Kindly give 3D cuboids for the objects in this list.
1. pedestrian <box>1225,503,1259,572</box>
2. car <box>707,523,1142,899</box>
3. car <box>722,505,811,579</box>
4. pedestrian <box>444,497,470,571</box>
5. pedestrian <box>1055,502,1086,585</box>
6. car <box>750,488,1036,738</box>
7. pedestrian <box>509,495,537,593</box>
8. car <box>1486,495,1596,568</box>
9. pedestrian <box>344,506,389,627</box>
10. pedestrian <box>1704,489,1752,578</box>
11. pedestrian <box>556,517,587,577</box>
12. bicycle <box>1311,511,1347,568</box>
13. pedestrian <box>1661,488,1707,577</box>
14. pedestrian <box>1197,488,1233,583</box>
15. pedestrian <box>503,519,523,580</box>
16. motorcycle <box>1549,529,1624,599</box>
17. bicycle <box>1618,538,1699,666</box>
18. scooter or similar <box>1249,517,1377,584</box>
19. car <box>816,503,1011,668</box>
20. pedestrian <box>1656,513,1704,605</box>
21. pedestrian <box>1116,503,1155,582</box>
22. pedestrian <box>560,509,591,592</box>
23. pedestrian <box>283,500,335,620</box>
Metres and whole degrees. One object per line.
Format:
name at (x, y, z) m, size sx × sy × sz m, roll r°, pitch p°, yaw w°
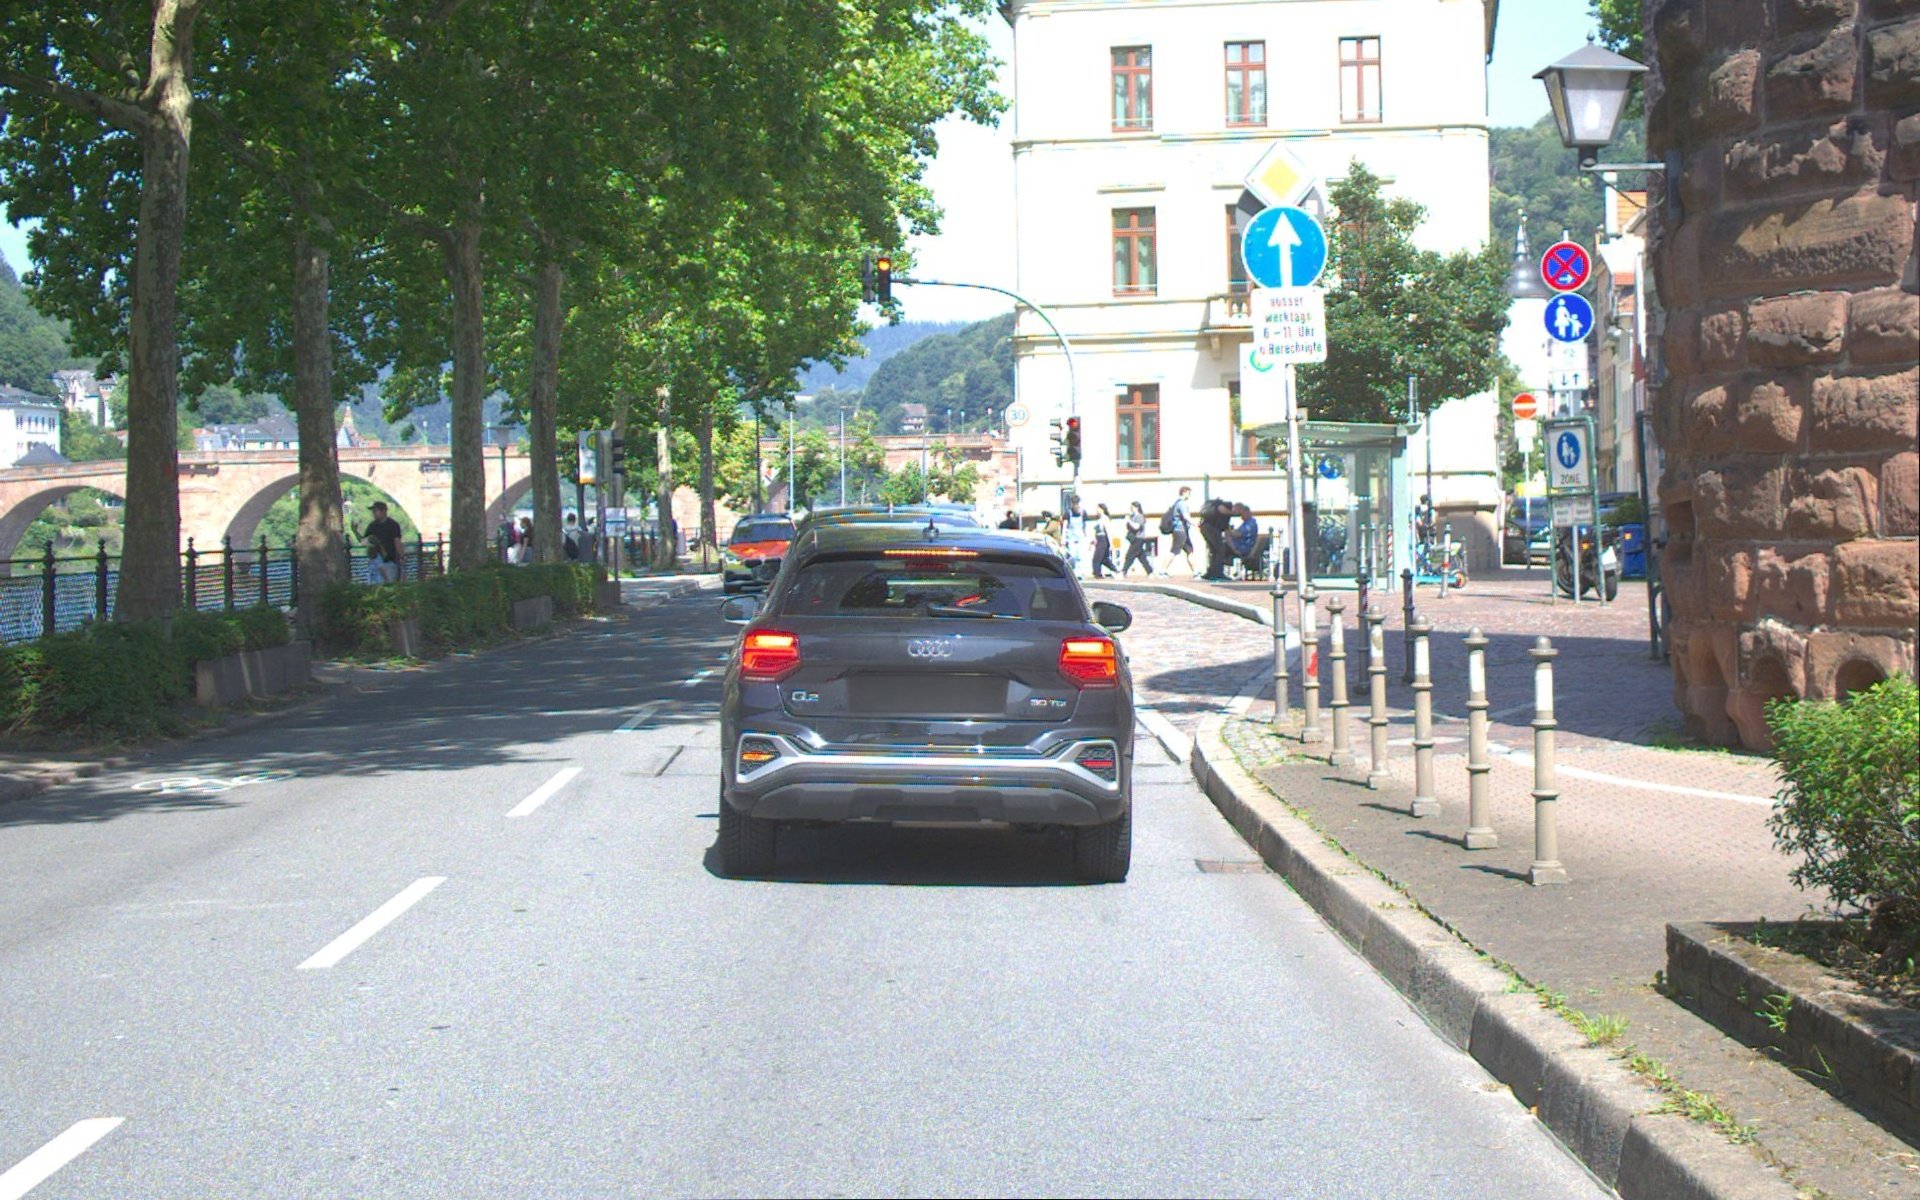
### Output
pedestrian at (4.926, -1.094, 60.072) m, size 0.546 × 1.197 × 0.522 m, roll 1°, pitch 1°, yaw 1°
car at (-0.189, 0.416, 15.827) m, size 1.748 × 1.489 × 3.629 m, roll 1°, pitch 1°, yaw -1°
car at (-4.162, -1.269, 74.352) m, size 1.615 × 1.517 × 3.476 m, roll -2°, pitch 1°, yaw 1°
pedestrian at (-10.626, -1.396, 72.673) m, size 0.497 × 1.532 × 0.680 m, roll 2°, pitch 1°, yaw -7°
pedestrian at (2.097, -1.069, 65.171) m, size 0.557 × 1.552 × 0.660 m, roll 1°, pitch 1°, yaw 1°
car at (-0.433, 0.037, 24.063) m, size 1.801 × 1.557 × 3.716 m, roll -2°, pitch 1°, yaw 0°
pedestrian at (-8.865, -1.135, 69.741) m, size 0.499 × 1.952 × 0.439 m, roll -2°, pitch 1°, yaw -7°
car at (14.211, -1.676, 84.294) m, size 1.993 × 1.710 × 4.000 m, roll 1°, pitch 1°, yaw 0°
pedestrian at (-8.583, -0.492, 49.732) m, size 0.563 × 1.735 × 0.665 m, roll 0°, pitch 1°, yaw -3°
pedestrian at (13.232, -1.141, 59.225) m, size 0.658 × 1.512 × 0.627 m, roll 1°, pitch 1°, yaw 1°
pedestrian at (-8.492, -1.162, 75.185) m, size 0.591 × 1.274 × 0.525 m, roll 2°, pitch 1°, yaw 0°
bicycle at (6.430, -1.058, 59.876) m, size 0.450 × 0.971 × 1.400 m, roll 1°, pitch 1°, yaw 0°
pedestrian at (12.482, -1.160, 59.269) m, size 0.658 × 1.512 × 0.548 m, roll 1°, pitch 1°, yaw 1°
pedestrian at (4.395, -1.118, 59.355) m, size 0.557 × 1.627 × 0.660 m, roll 1°, pitch 1°, yaw 1°
pedestrian at (-10.558, -1.202, 81.140) m, size 0.409 × 1.420 × 0.457 m, roll 1°, pitch 1°, yaw -4°
motorcycle at (7.683, -0.453, 42.219) m, size 0.483 × 0.815 × 2.280 m, roll -2°, pitch 1°, yaw 0°
bicycle at (5.866, 0.000, 28.916) m, size 0.496 × 1.027 × 2.050 m, roll -2°, pitch 1°, yaw 8°
scooter or similar at (5.306, -0.742, 51.689) m, size 1.845 × 0.960 × 0.429 m, roll 1°, pitch 1°, yaw -1°
car at (-0.438, -0.181, 34.257) m, size 1.801 × 1.517 × 3.716 m, roll -1°, pitch 1°, yaw 0°
pedestrian at (11.830, -0.669, 56.494) m, size 0.658 × 1.488 × 0.548 m, roll 1°, pitch 1°, yaw 1°
pedestrian at (3.495, -1.146, 68.515) m, size 0.747 × 1.552 × 0.588 m, roll 1°, pitch 1°, yaw 1°
pedestrian at (-7.702, -0.995, 68.881) m, size 0.517 × 1.632 × 0.439 m, roll -2°, pitch 1°, yaw -12°
pedestrian at (-9.411, -0.585, 49.729) m, size 0.645 × 1.711 × 0.665 m, roll 1°, pitch 1°, yaw -3°
